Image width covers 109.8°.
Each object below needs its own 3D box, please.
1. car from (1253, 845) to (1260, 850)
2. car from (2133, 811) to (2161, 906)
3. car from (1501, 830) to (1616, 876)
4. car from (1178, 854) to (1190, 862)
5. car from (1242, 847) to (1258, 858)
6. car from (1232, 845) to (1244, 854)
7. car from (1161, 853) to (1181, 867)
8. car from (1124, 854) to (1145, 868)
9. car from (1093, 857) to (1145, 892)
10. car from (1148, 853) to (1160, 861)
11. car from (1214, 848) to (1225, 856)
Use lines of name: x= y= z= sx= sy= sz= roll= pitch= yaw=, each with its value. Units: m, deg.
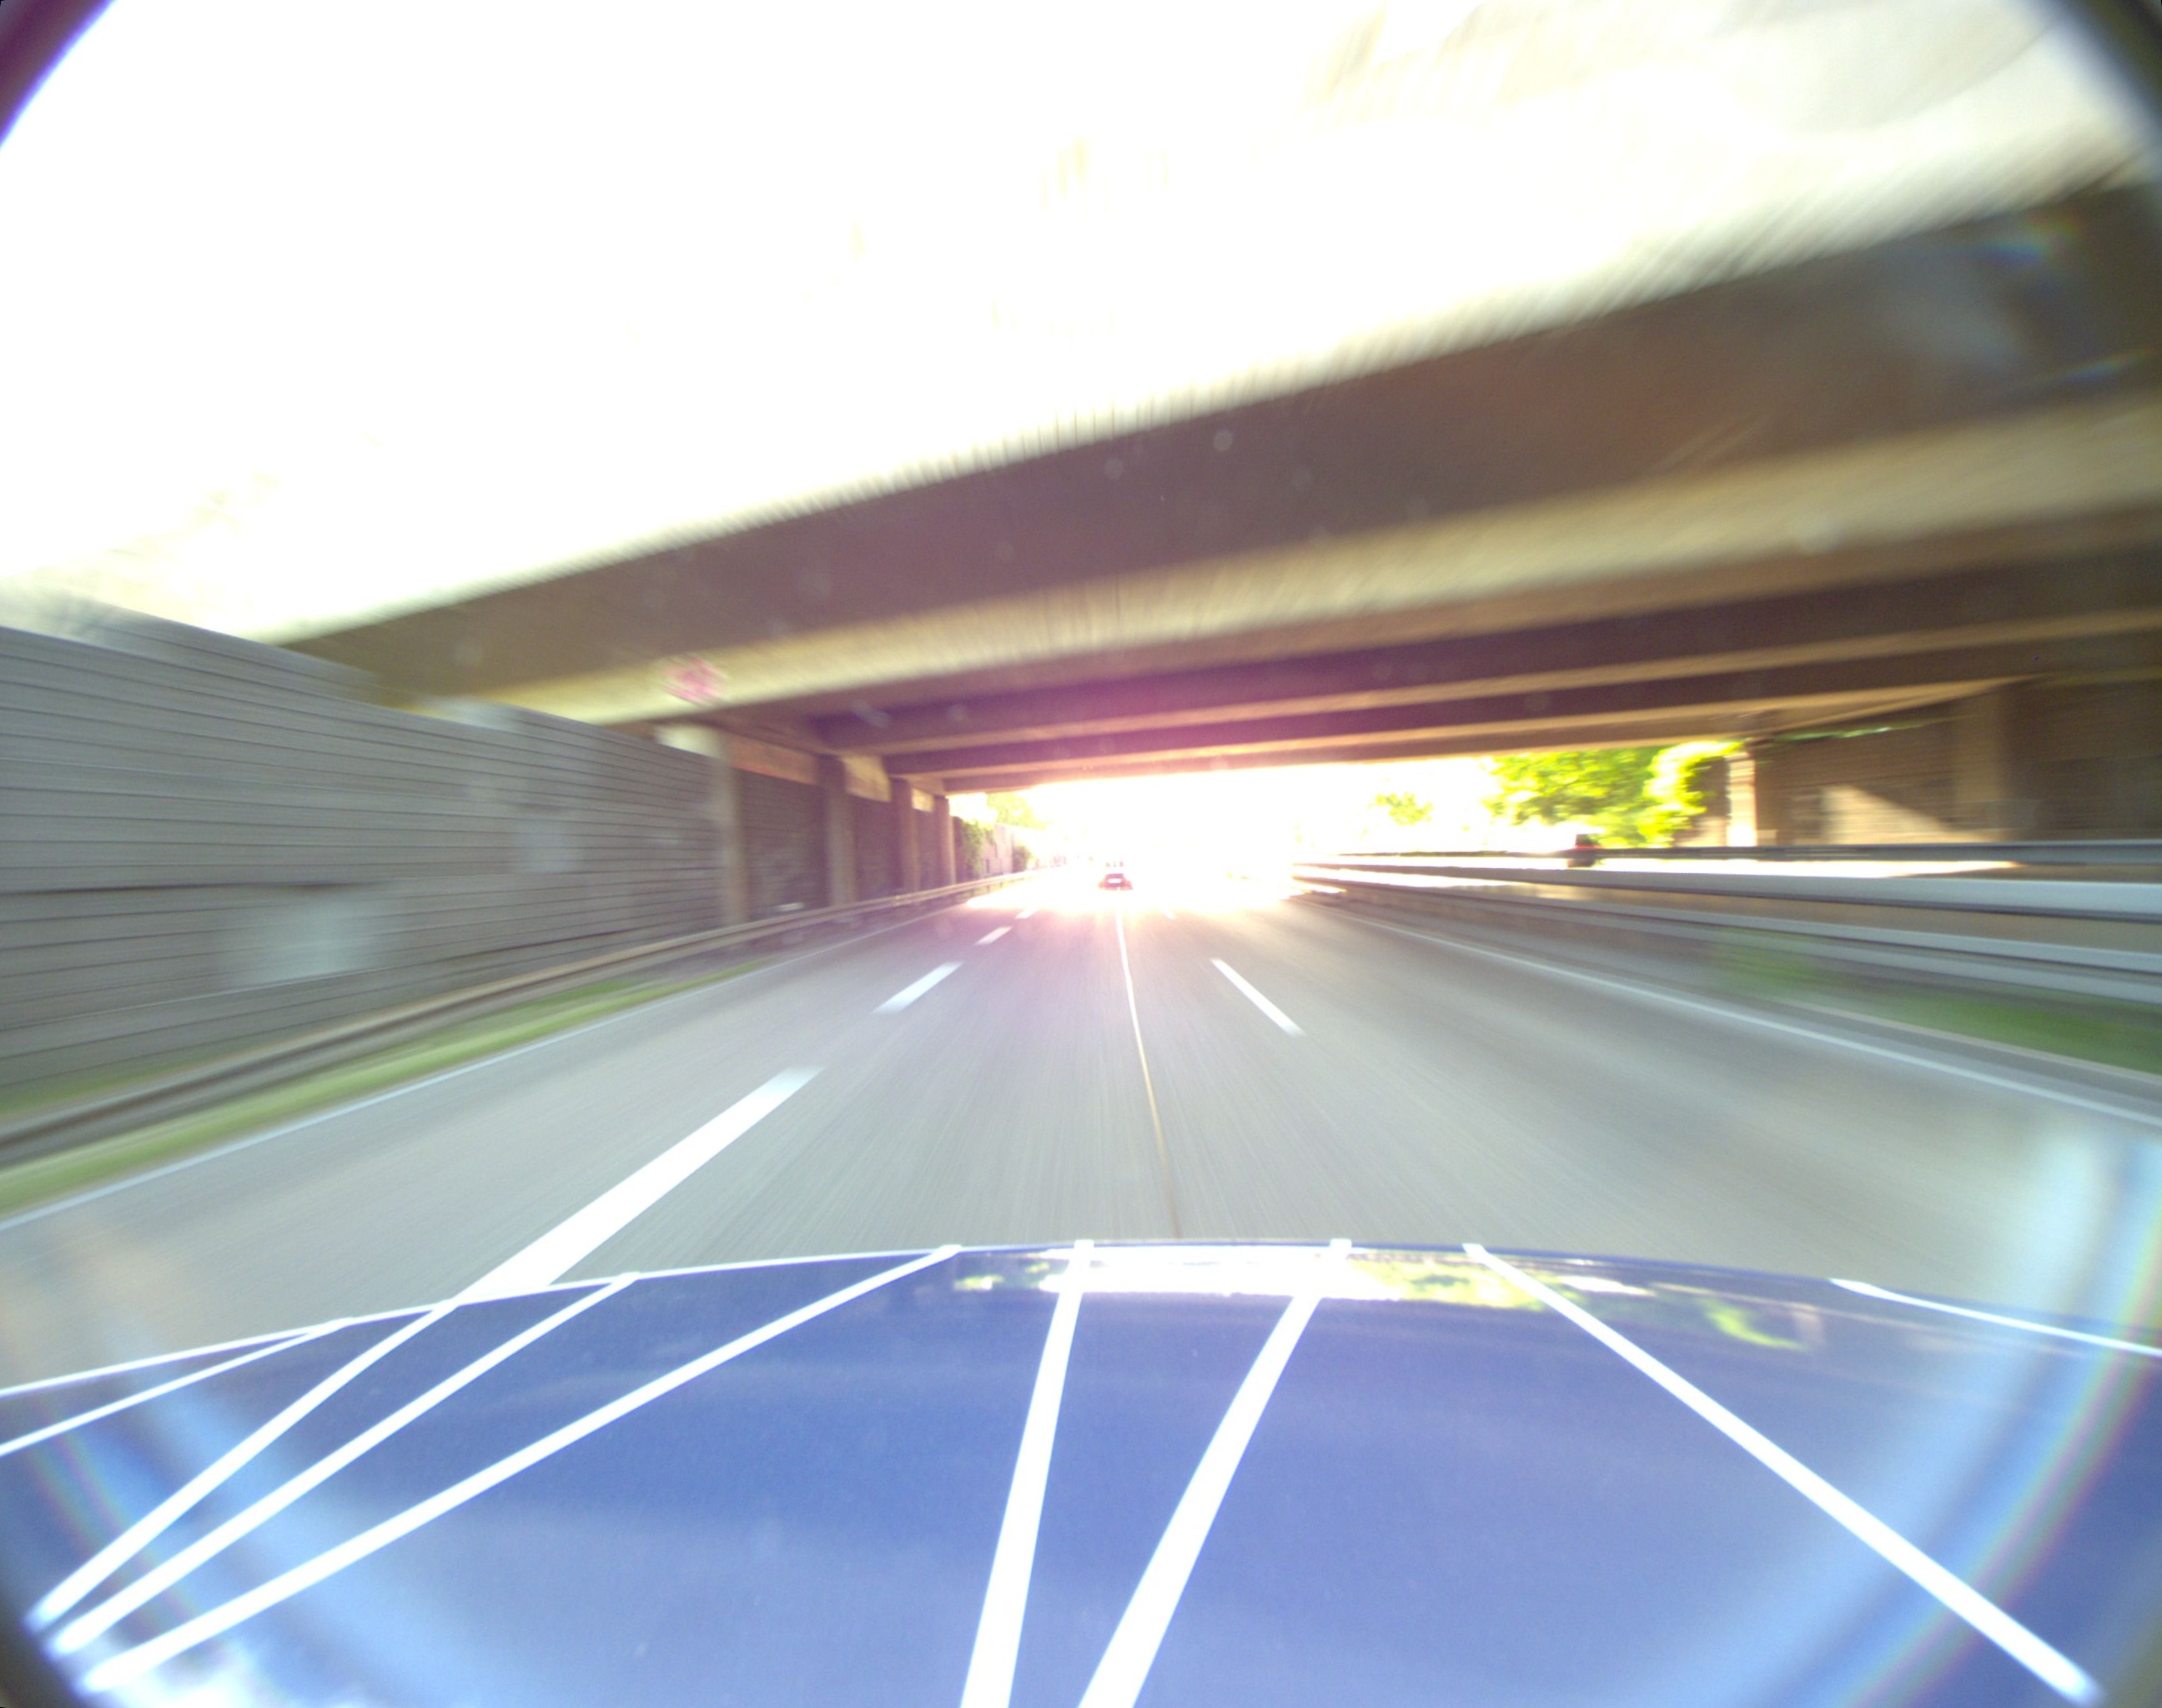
car: x=58.782 y=-2.124 z=254.635 sx=1.997 sy=1.406 sz=4.835 roll=-3 pitch=0 yaw=13
car: x=19.093 y=0.023 z=10.865 sx=1.998 sy=1.586 sz=4.428 roll=-3 pitch=0 yaw=2
car: x=19.599 y=-0.035 z=31.451 sx=1.998 sy=1.696 sz=4.562 roll=-2 pitch=0 yaw=2
car: x=20.552 y=0.728 z=151.452 sx=1.997 sy=1.406 sz=4.834 roll=-3 pitch=0 yaw=9
car: x=27.236 y=-0.306 z=122.605 sx=1.997 sy=1.631 sz=4.723 roll=-3 pitch=0 yaw=8
car: x=30.297 y=-0.906 z=146.750 sx=1.997 sy=1.631 sz=4.723 roll=-3 pitch=0 yaw=8
car: x=9.977 y=0.674 z=84.258 sx=1.998 sy=1.406 sz=4.833 roll=-3 pitch=0 yaw=6
car: x=6.116 y=0.817 z=85.950 sx=1.997 sy=1.406 sz=4.833 roll=-3 pitch=0 yaw=8
car: x=1.834 y=0.907 z=35.122 sx=1.997 sy=1.406 sz=4.833 roll=-2 pitch=0 yaw=7
car: x=12.833 y=0.512 z=133.678 sx=1.997 sy=1.406 sz=4.833 roll=-3 pitch=0 yaw=7
car: x=29.793 y=-0.396 z=163.137 sx=1.997 sy=1.631 sz=4.723 roll=-3 pitch=0 yaw=8
